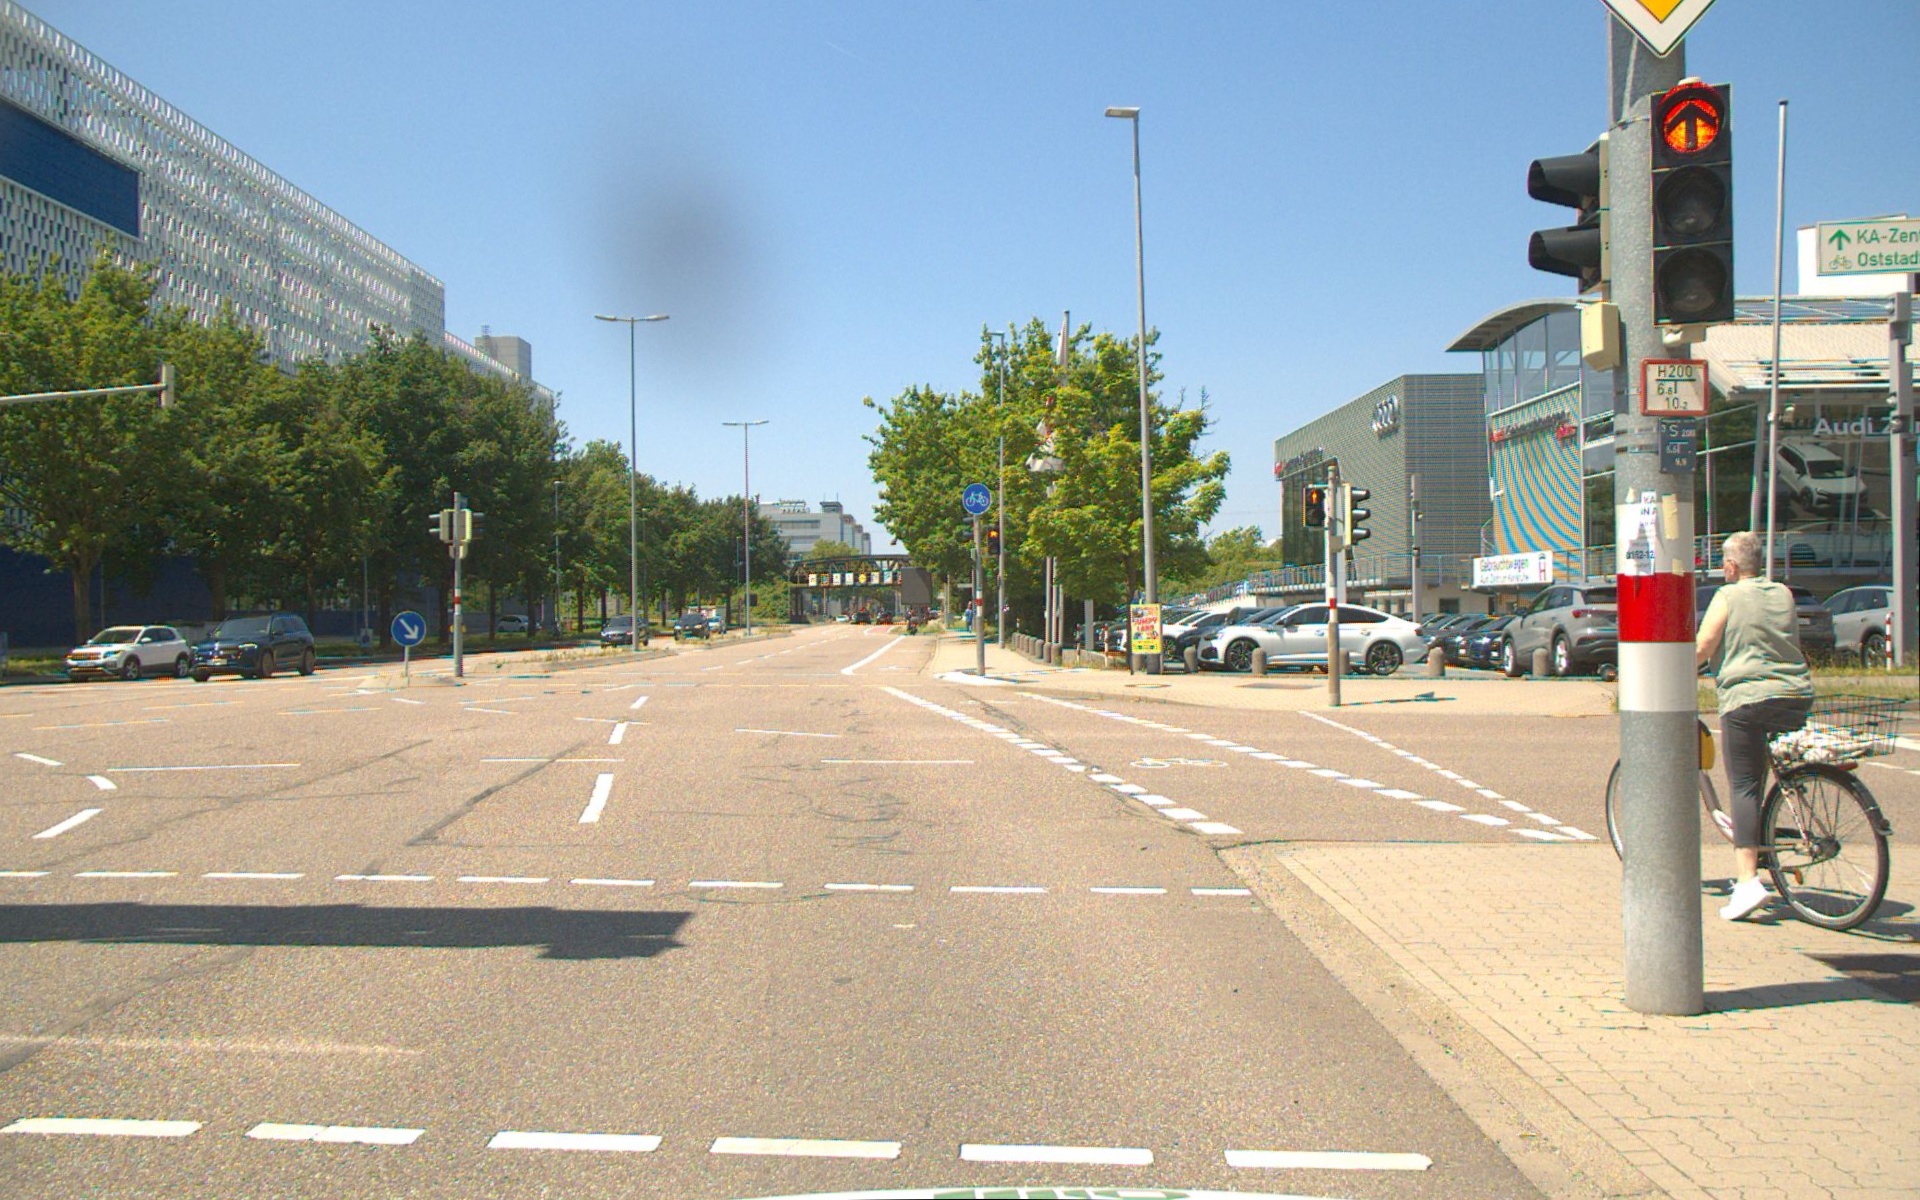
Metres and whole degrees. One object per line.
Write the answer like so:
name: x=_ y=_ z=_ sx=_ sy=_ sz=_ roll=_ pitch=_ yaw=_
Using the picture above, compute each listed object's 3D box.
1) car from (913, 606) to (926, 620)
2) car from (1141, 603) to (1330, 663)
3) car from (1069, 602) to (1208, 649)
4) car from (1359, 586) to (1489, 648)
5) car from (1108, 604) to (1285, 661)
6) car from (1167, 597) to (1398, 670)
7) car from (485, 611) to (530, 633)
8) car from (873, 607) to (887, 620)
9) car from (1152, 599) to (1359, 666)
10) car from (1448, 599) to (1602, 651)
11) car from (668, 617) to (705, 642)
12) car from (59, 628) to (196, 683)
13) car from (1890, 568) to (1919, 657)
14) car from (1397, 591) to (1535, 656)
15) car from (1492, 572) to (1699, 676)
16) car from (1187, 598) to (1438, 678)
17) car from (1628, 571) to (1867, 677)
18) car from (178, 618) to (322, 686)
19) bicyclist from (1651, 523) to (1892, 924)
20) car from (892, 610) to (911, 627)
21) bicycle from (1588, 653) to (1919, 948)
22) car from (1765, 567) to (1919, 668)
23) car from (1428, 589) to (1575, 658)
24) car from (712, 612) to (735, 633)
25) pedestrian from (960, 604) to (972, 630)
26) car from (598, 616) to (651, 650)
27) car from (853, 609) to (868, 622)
car: x=-5.418 y=1.704 z=220.583 sx=1.736 sy=1.758 sz=3.999 roll=-1 pitch=-1 yaw=-1
car: x=7.259 y=0.858 z=43.892 sx=4.646 sy=1.482 sz=1.999 roll=-1 pitch=0 yaw=-3
car: x=6.327 y=0.906 z=58.897 sx=4.646 sy=1.482 sz=1.999 roll=-2 pitch=0 yaw=-3
car: x=15.968 y=0.583 z=57.071 sx=3.905 sy=2.049 sz=2.000 roll=-1 pitch=0 yaw=0
car: x=6.616 y=0.889 z=46.634 sx=4.646 sy=1.482 sz=1.999 roll=-1 pitch=0 yaw=-3
car: x=6.954 y=0.730 z=36.059 sx=4.643 sy=1.482 sz=2.000 roll=-1 pitch=-1 yaw=1
car: x=-40.879 y=1.963 z=149.408 sx=3.953 sy=1.842 sz=1.990 roll=2 pitch=0 yaw=39
car: x=-10.628 y=1.812 z=219.693 sx=1.736 sy=1.758 sz=3.999 roll=-1 pitch=-1 yaw=-1
car: x=7.037 y=0.763 z=39.767 sx=4.643 sy=1.482 sz=2.000 roll=-1 pitch=0 yaw=1
car: x=16.857 y=0.742 z=49.454 sx=4.008 sy=1.486 sz=1.719 roll=-1 pitch=0 yaw=0
car: x=-16.588 y=1.762 z=100.457 sx=1.650 sy=1.436 sz=3.664 roll=-1 pitch=-1 yaw=-1
car: x=-24.065 y=1.577 z=47.956 sx=1.587 sy=1.483 sz=4.073 roll=-1 pitch=-1 yaw=5
car: x=18.837 y=0.226 z=29.515 sx=1.847 sy=1.668 sz=4.524 roll=-1 pitch=0 yaw=-1
car: x=16.663 y=0.763 z=54.610 sx=3.905 sy=2.049 sz=2.000 roll=-1 pitch=0 yaw=0
car: x=11.062 y=0.374 z=29.140 sx=1.953 sy=1.668 sz=4.267 roll=-1 pitch=0 yaw=-1
car: x=7.033 y=0.743 z=33.353 sx=4.643 sy=1.482 sz=2.000 roll=-1 pitch=0 yaw=1
car: x=13.681 y=0.374 z=29.078 sx=1.953 sy=1.668 sz=4.557 roll=-1 pitch=0 yaw=-1
car: x=-18.324 y=1.307 z=42.928 sx=1.837 sy=1.626 sz=4.495 roll=-1 pitch=-1 yaw=-1
bicyclist: x=3.775 y=0.549 z=7.742 sx=0.719 sy=1.779 sz=0.753 roll=0 pitch=0 yaw=-5
car: x=-3.723 y=1.172 z=105.313 sx=1.114 sy=1.060 sz=2.308 roll=-1 pitch=0 yaw=-1
bicycle: x=3.792 y=0.866 z=7.860 sx=0.771 sy=1.147 sz=1.919 roll=0 pitch=0 yaw=-4
car: x=16.472 y=0.256 z=29.528 sx=1.953 sy=1.668 sz=4.440 roll=-1 pitch=0 yaw=-1
car: x=16.915 y=0.717 z=51.796 sx=3.905 sy=2.049 sz=2.000 roll=-1 pitch=0 yaw=0
car: x=-19.631 y=1.837 z=137.634 sx=1.617 sy=1.682 sz=4.159 roll=-1 pitch=0 yaw=-5
pedestrian: x=0.368 y=1.013 z=97.891 sx=0.654 sy=1.537 sz=0.736 roll=-1 pitch=0 yaw=-1
car: x=-15.645 y=1.516 z=77.321 sx=1.697 sy=1.452 sz=3.705 roll=-3 pitch=-1 yaw=-1
car: x=-13.541 y=2.156 z=225.420 sx=1.736 sy=1.758 sz=3.999 roll=-1 pitch=-1 yaw=-1
